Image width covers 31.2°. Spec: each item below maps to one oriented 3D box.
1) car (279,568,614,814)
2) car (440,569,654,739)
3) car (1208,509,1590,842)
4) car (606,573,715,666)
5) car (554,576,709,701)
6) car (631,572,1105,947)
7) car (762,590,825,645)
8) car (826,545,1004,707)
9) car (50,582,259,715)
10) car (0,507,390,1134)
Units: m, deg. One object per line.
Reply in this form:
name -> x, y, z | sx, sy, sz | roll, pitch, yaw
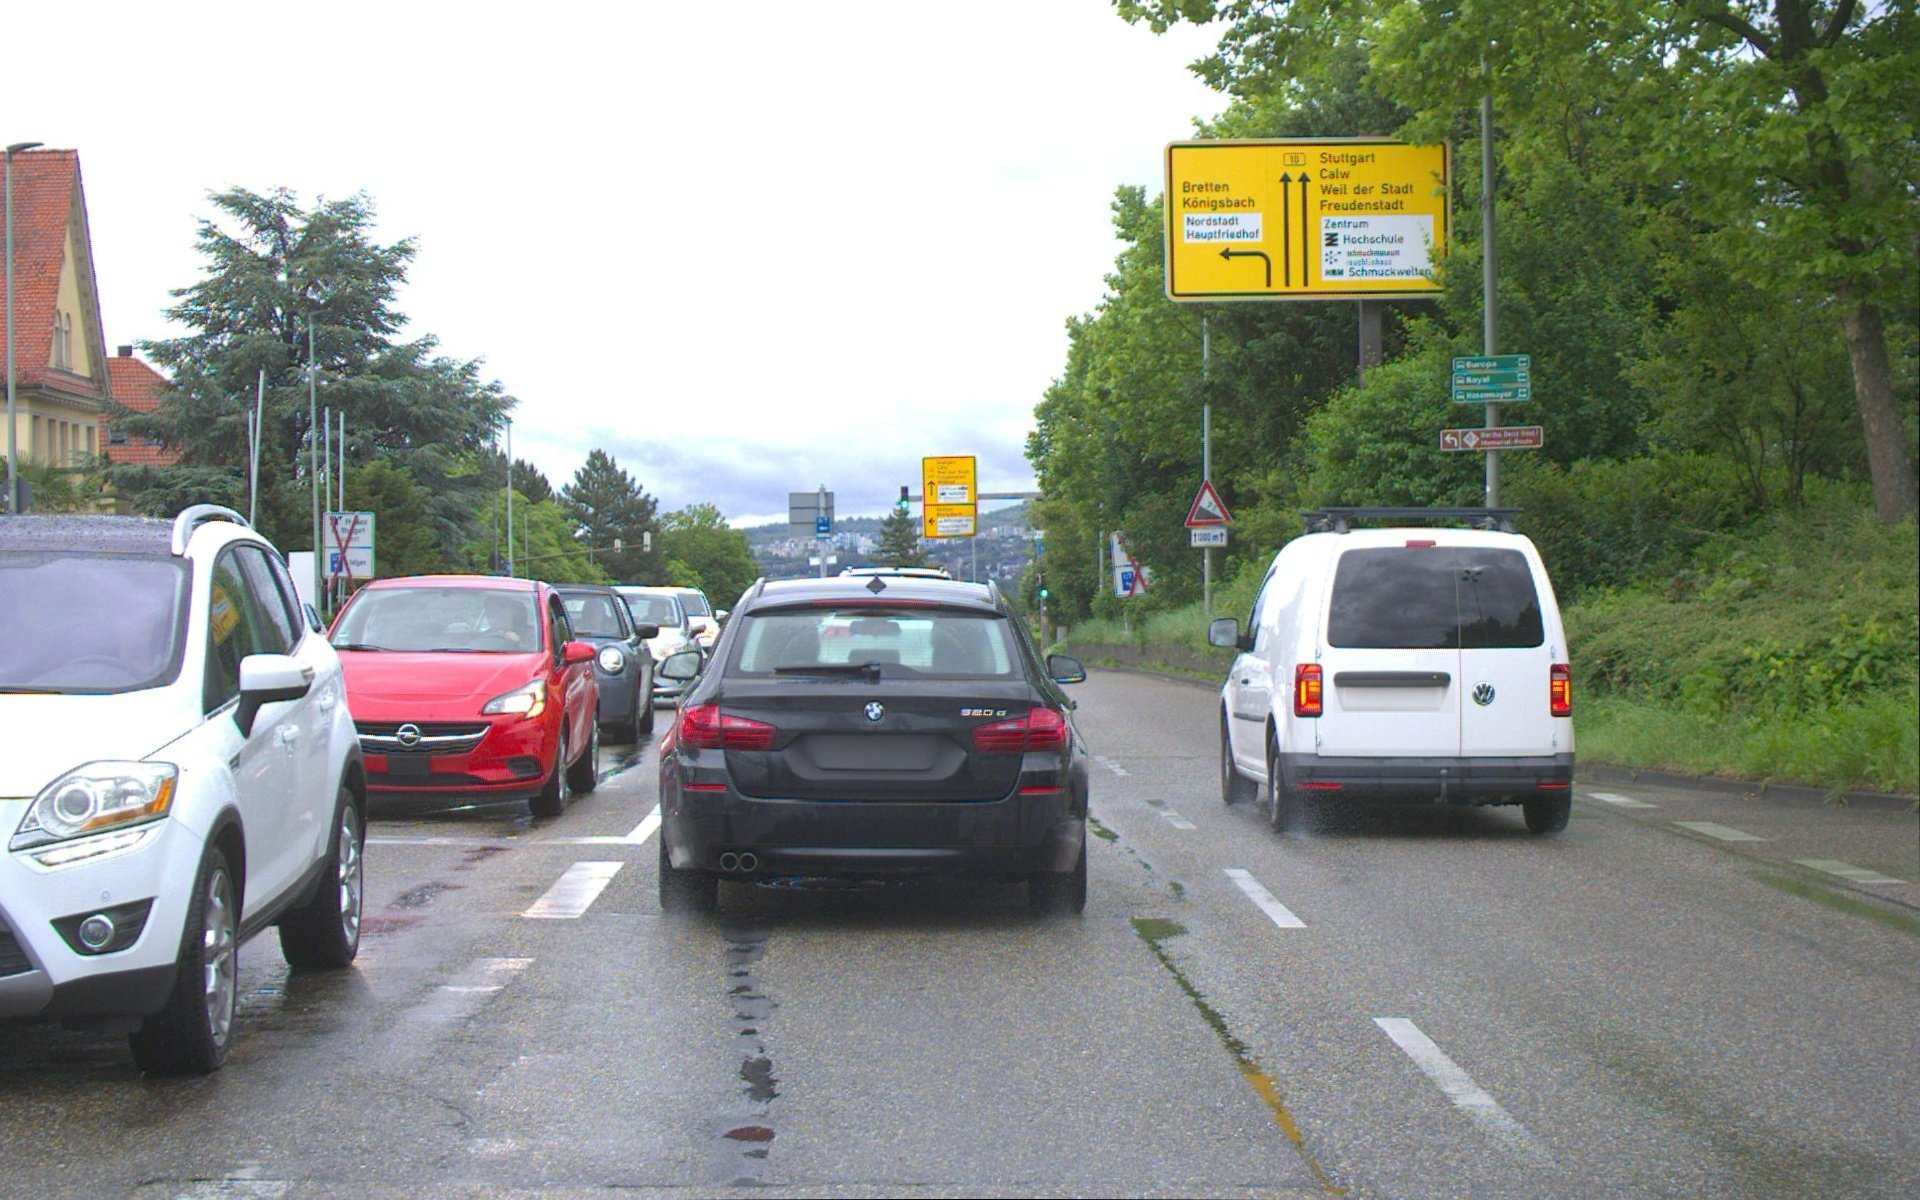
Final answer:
car -> -3.216, 0.545, 22.202 | 1.632, 1.429, 4.144 | 1, 0, -1
car -> -3.765, 0.451, 31.837 | 1.601, 1.436, 3.949 | 0, 1, -2
car -> 2.605, 0.379, 21.239 | 1.764, 1.871, 3.806 | 0, 1, -2
car -> -5.265, 0.352, 60.787 | 1.787, 1.575, 4.239 | 0, 0, -3
car -> -3.972, 0.458, 42.019 | 1.601, 1.436, 3.949 | 0, 0, -2
car -> -0.387, 0.626, 15.838 | 1.899, 1.436, 4.000 | 0, 1, 0
car -> -5.377, 0.543, 111.275 | 1.868, 1.668, 4.000 | 0, 1, 0
car -> -0.486, 0.240, 38.214 | 1.868, 1.668, 4.000 | 0, 1, 0
car -> -9.603, 0.541, 41.291 | 1.601, 1.395, 4.406 | -3, 1, -3
car -> -3.079, 0.552, 11.167 | 1.839, 1.644, 4.298 | -1, 1, -2
